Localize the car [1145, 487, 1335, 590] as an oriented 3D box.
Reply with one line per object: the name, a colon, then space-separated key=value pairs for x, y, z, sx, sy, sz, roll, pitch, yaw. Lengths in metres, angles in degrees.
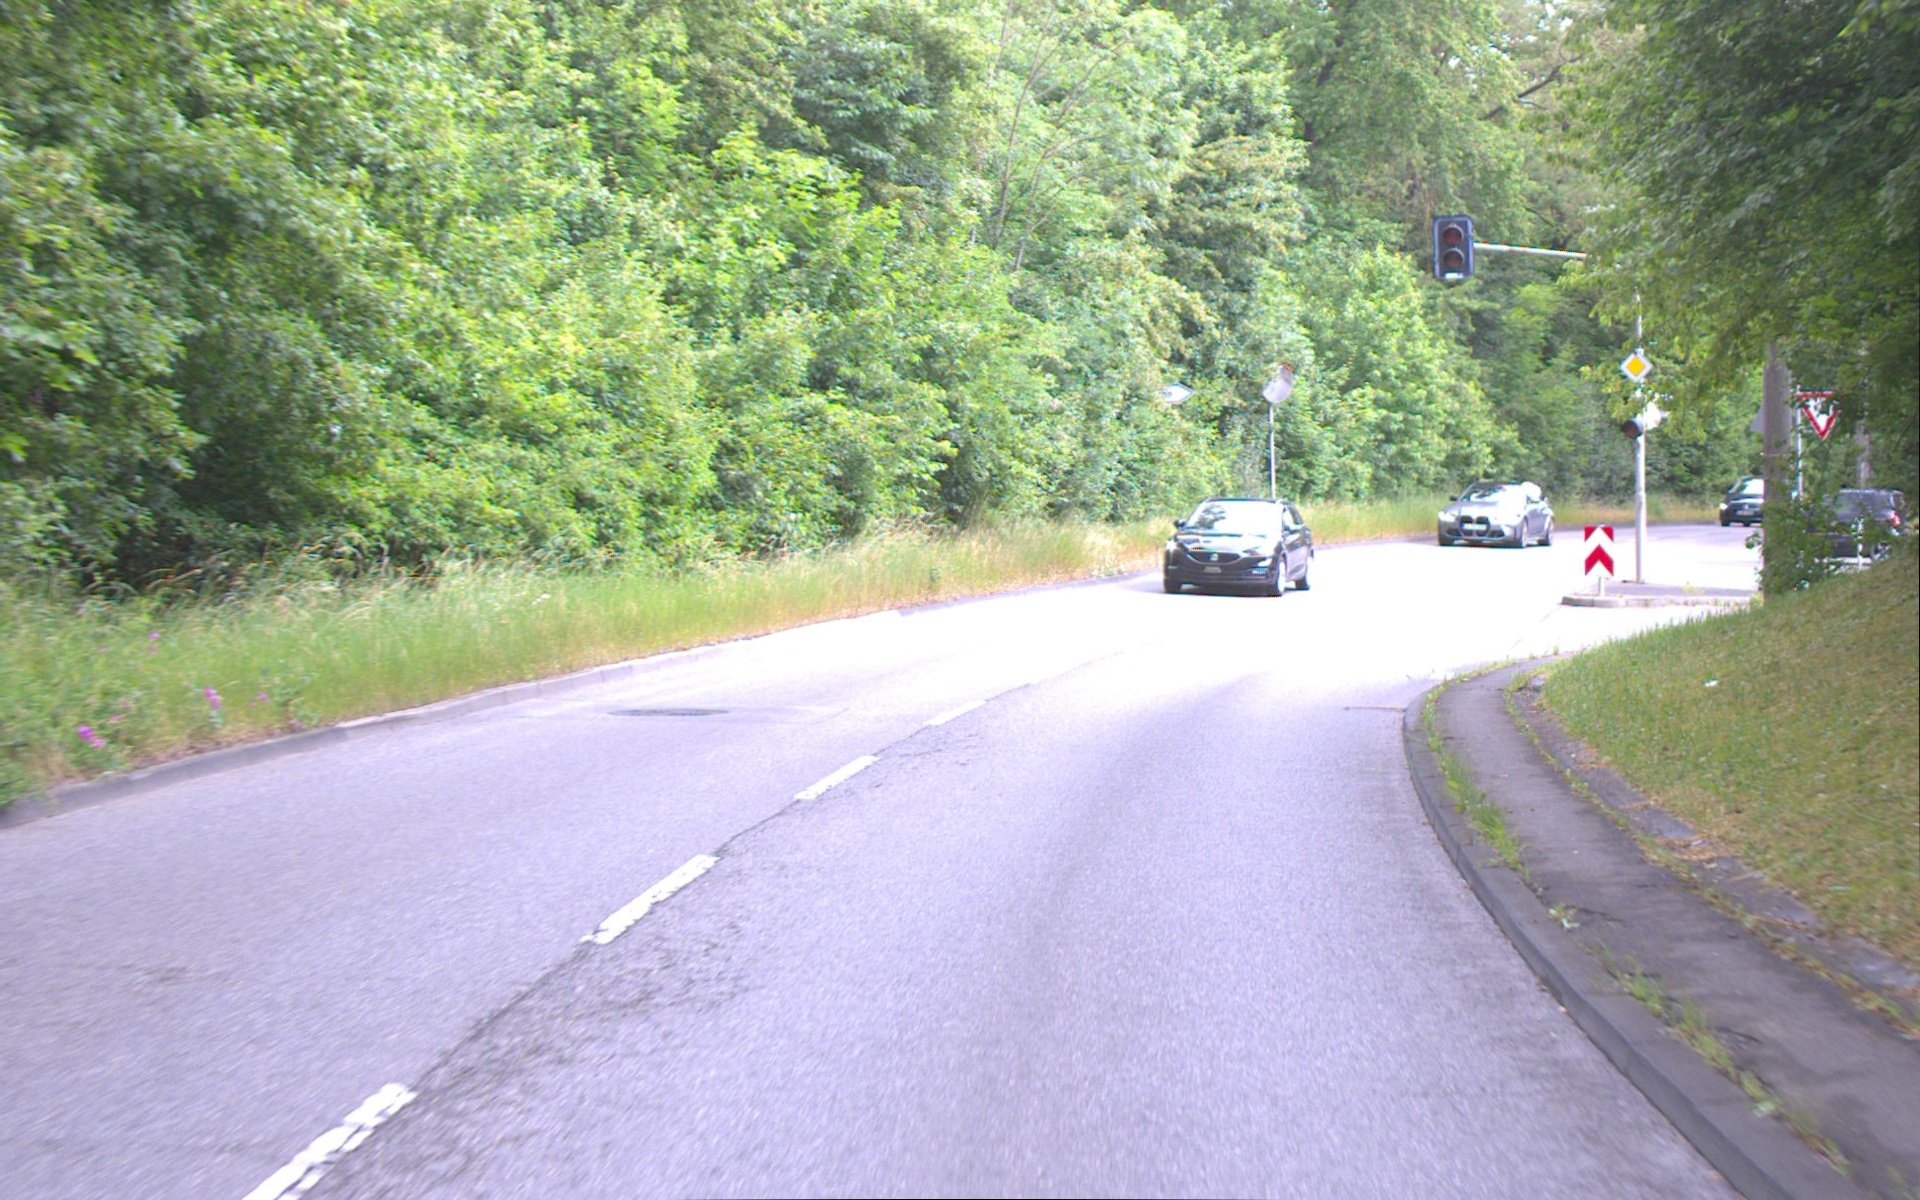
car: x=4.329 y=-0.948 z=52.500 sx=1.804 sy=1.429 sz=4.656 roll=3 pitch=2 yaw=18

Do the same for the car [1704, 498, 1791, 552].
car: x=24.048 y=-2.310 z=104.911 sx=1.791 sy=1.509 sz=4.837 roll=3 pitch=3 yaw=22

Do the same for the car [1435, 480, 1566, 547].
car: x=12.088 y=-1.956 z=76.651 sx=1.900 sy=1.349 sz=4.838 roll=4 pitch=3 yaw=20
